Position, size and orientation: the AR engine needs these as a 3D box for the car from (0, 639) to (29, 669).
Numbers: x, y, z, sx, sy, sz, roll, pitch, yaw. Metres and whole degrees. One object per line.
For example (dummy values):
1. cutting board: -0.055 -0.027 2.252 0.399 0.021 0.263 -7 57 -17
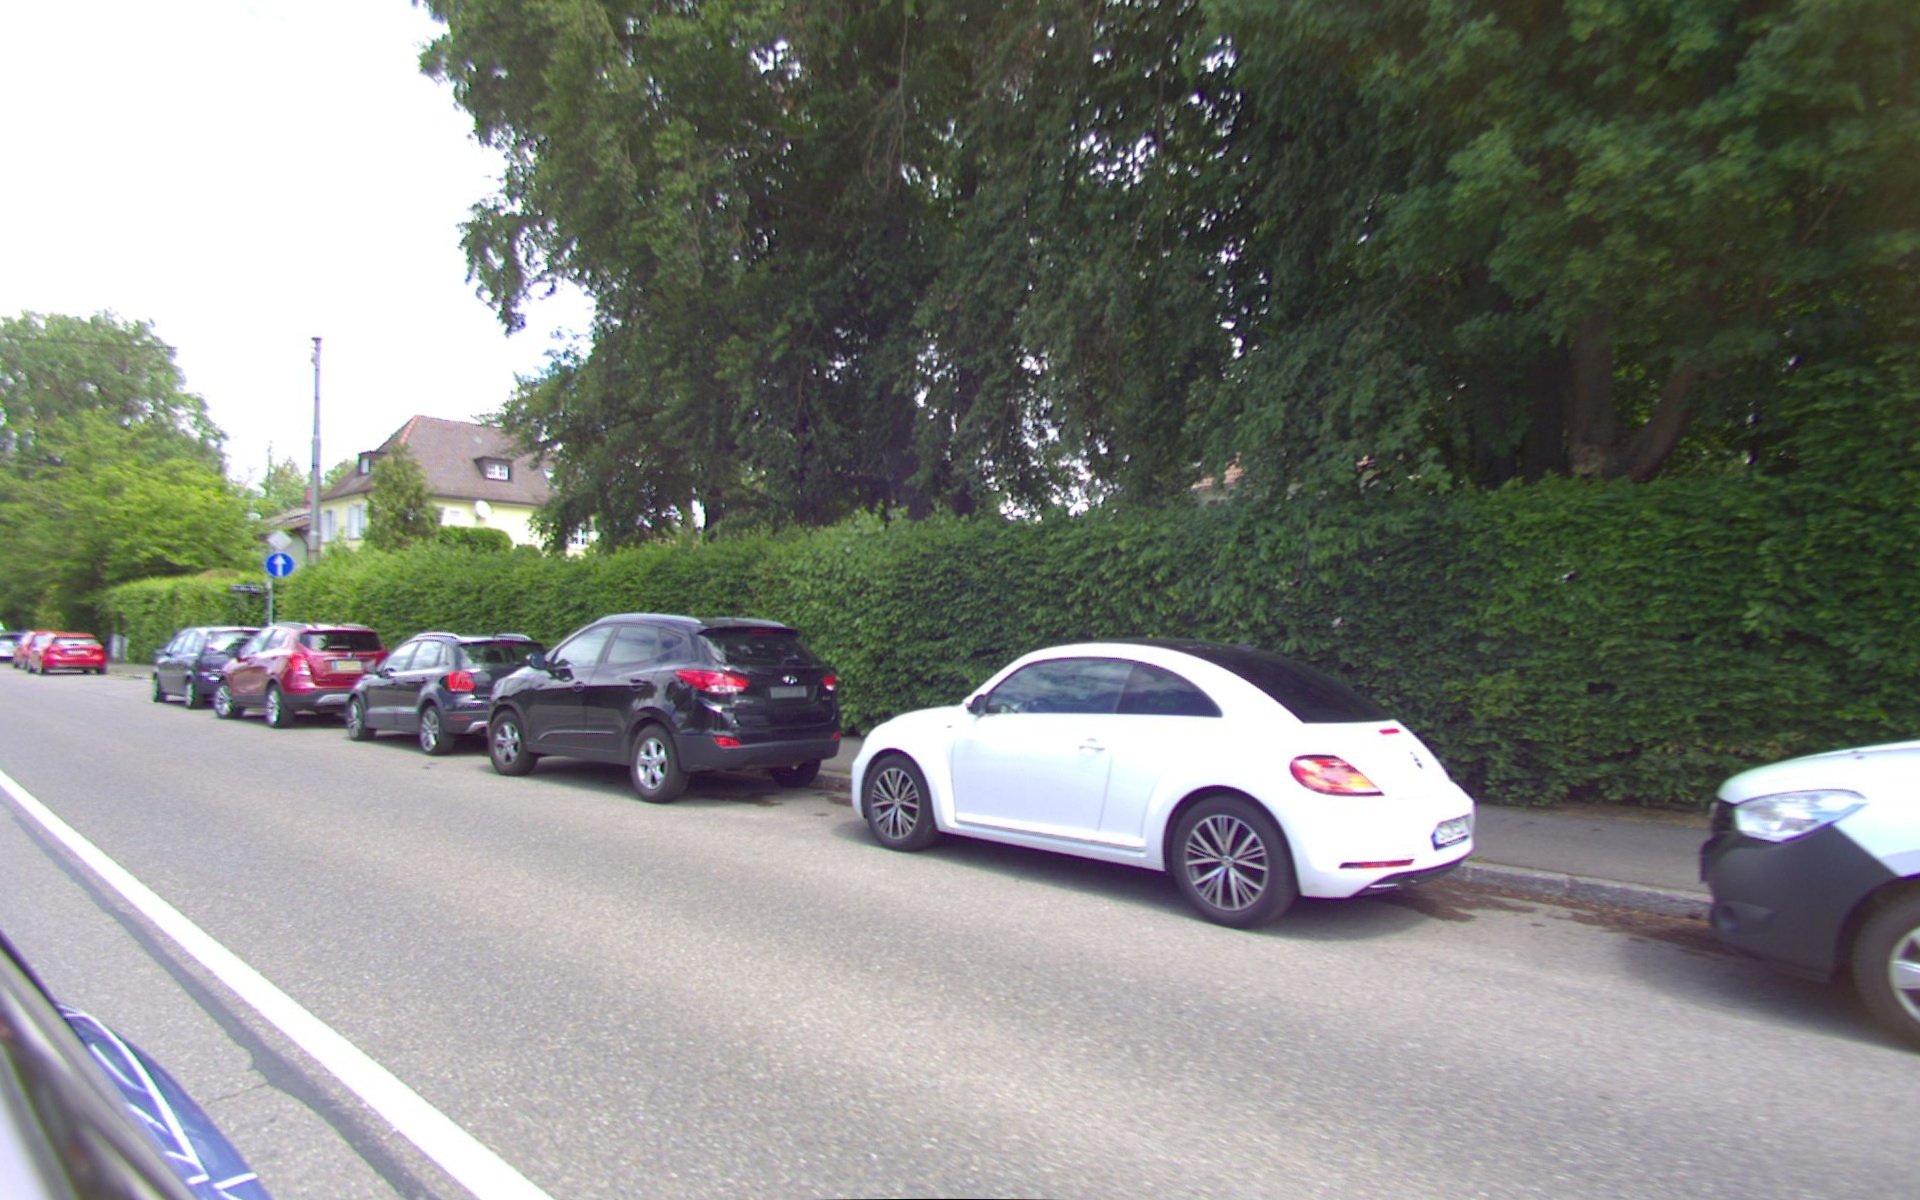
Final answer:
1. car: -45.631 2.564 48.276 1.653 1.381 3.609 3 -4 -44

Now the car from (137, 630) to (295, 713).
1. car: -15.491 1.416 20.996 4.325 1.546 1.739 -2 -3 41

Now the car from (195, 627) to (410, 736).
1. car: -11.290 1.297 17.265 4.411 1.623 1.773 -2 -2 39

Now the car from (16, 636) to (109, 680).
1. car: -31.299 1.966 35.256 4.064 1.413 1.946 -2 -2 42

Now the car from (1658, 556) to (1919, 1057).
1. car: 5.132 0.730 3.259 4.603 1.772 1.660 -2 -4 40

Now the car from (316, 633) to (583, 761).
1. car: -7.024 1.196 13.752 4.233 1.470 1.716 -2 -2 40

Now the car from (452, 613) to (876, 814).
1. car: -3.178 0.985 10.332 4.638 1.606 1.877 -2 -2 39

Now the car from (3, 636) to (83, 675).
1. car: -36.156 2.159 39.891 3.746 1.462 1.830 -2 -2 40

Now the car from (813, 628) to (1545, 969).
1. car: 1.091 0.967 6.518 4.358 1.464 1.685 -2 -5 44
